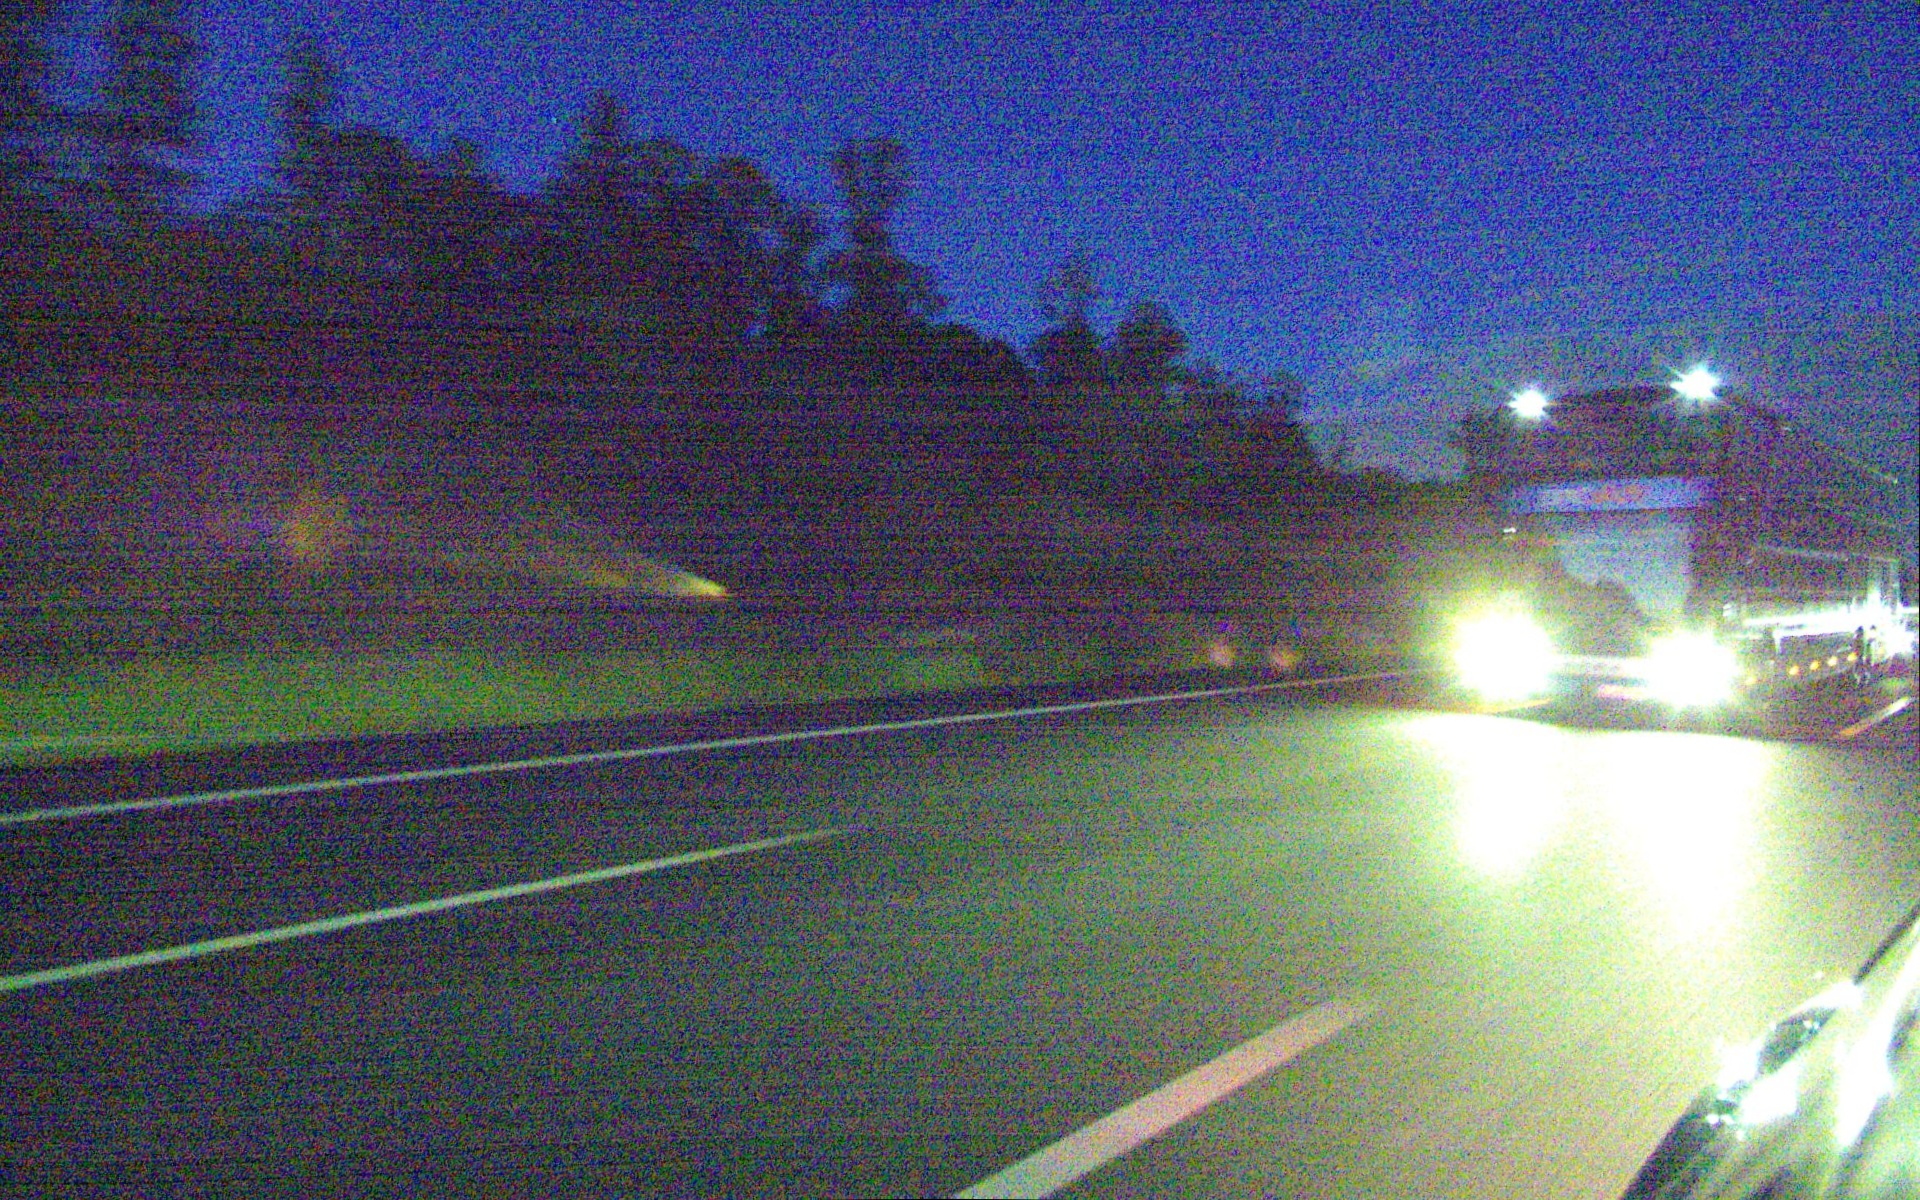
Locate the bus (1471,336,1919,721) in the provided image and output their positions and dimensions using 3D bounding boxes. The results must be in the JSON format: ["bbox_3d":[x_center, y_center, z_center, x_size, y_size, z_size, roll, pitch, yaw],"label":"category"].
[{"bbox_3d":[12.754,-0.793,16.328,14.443,4.045,2.656,-1,-1,-41],"label":"bus"}]
